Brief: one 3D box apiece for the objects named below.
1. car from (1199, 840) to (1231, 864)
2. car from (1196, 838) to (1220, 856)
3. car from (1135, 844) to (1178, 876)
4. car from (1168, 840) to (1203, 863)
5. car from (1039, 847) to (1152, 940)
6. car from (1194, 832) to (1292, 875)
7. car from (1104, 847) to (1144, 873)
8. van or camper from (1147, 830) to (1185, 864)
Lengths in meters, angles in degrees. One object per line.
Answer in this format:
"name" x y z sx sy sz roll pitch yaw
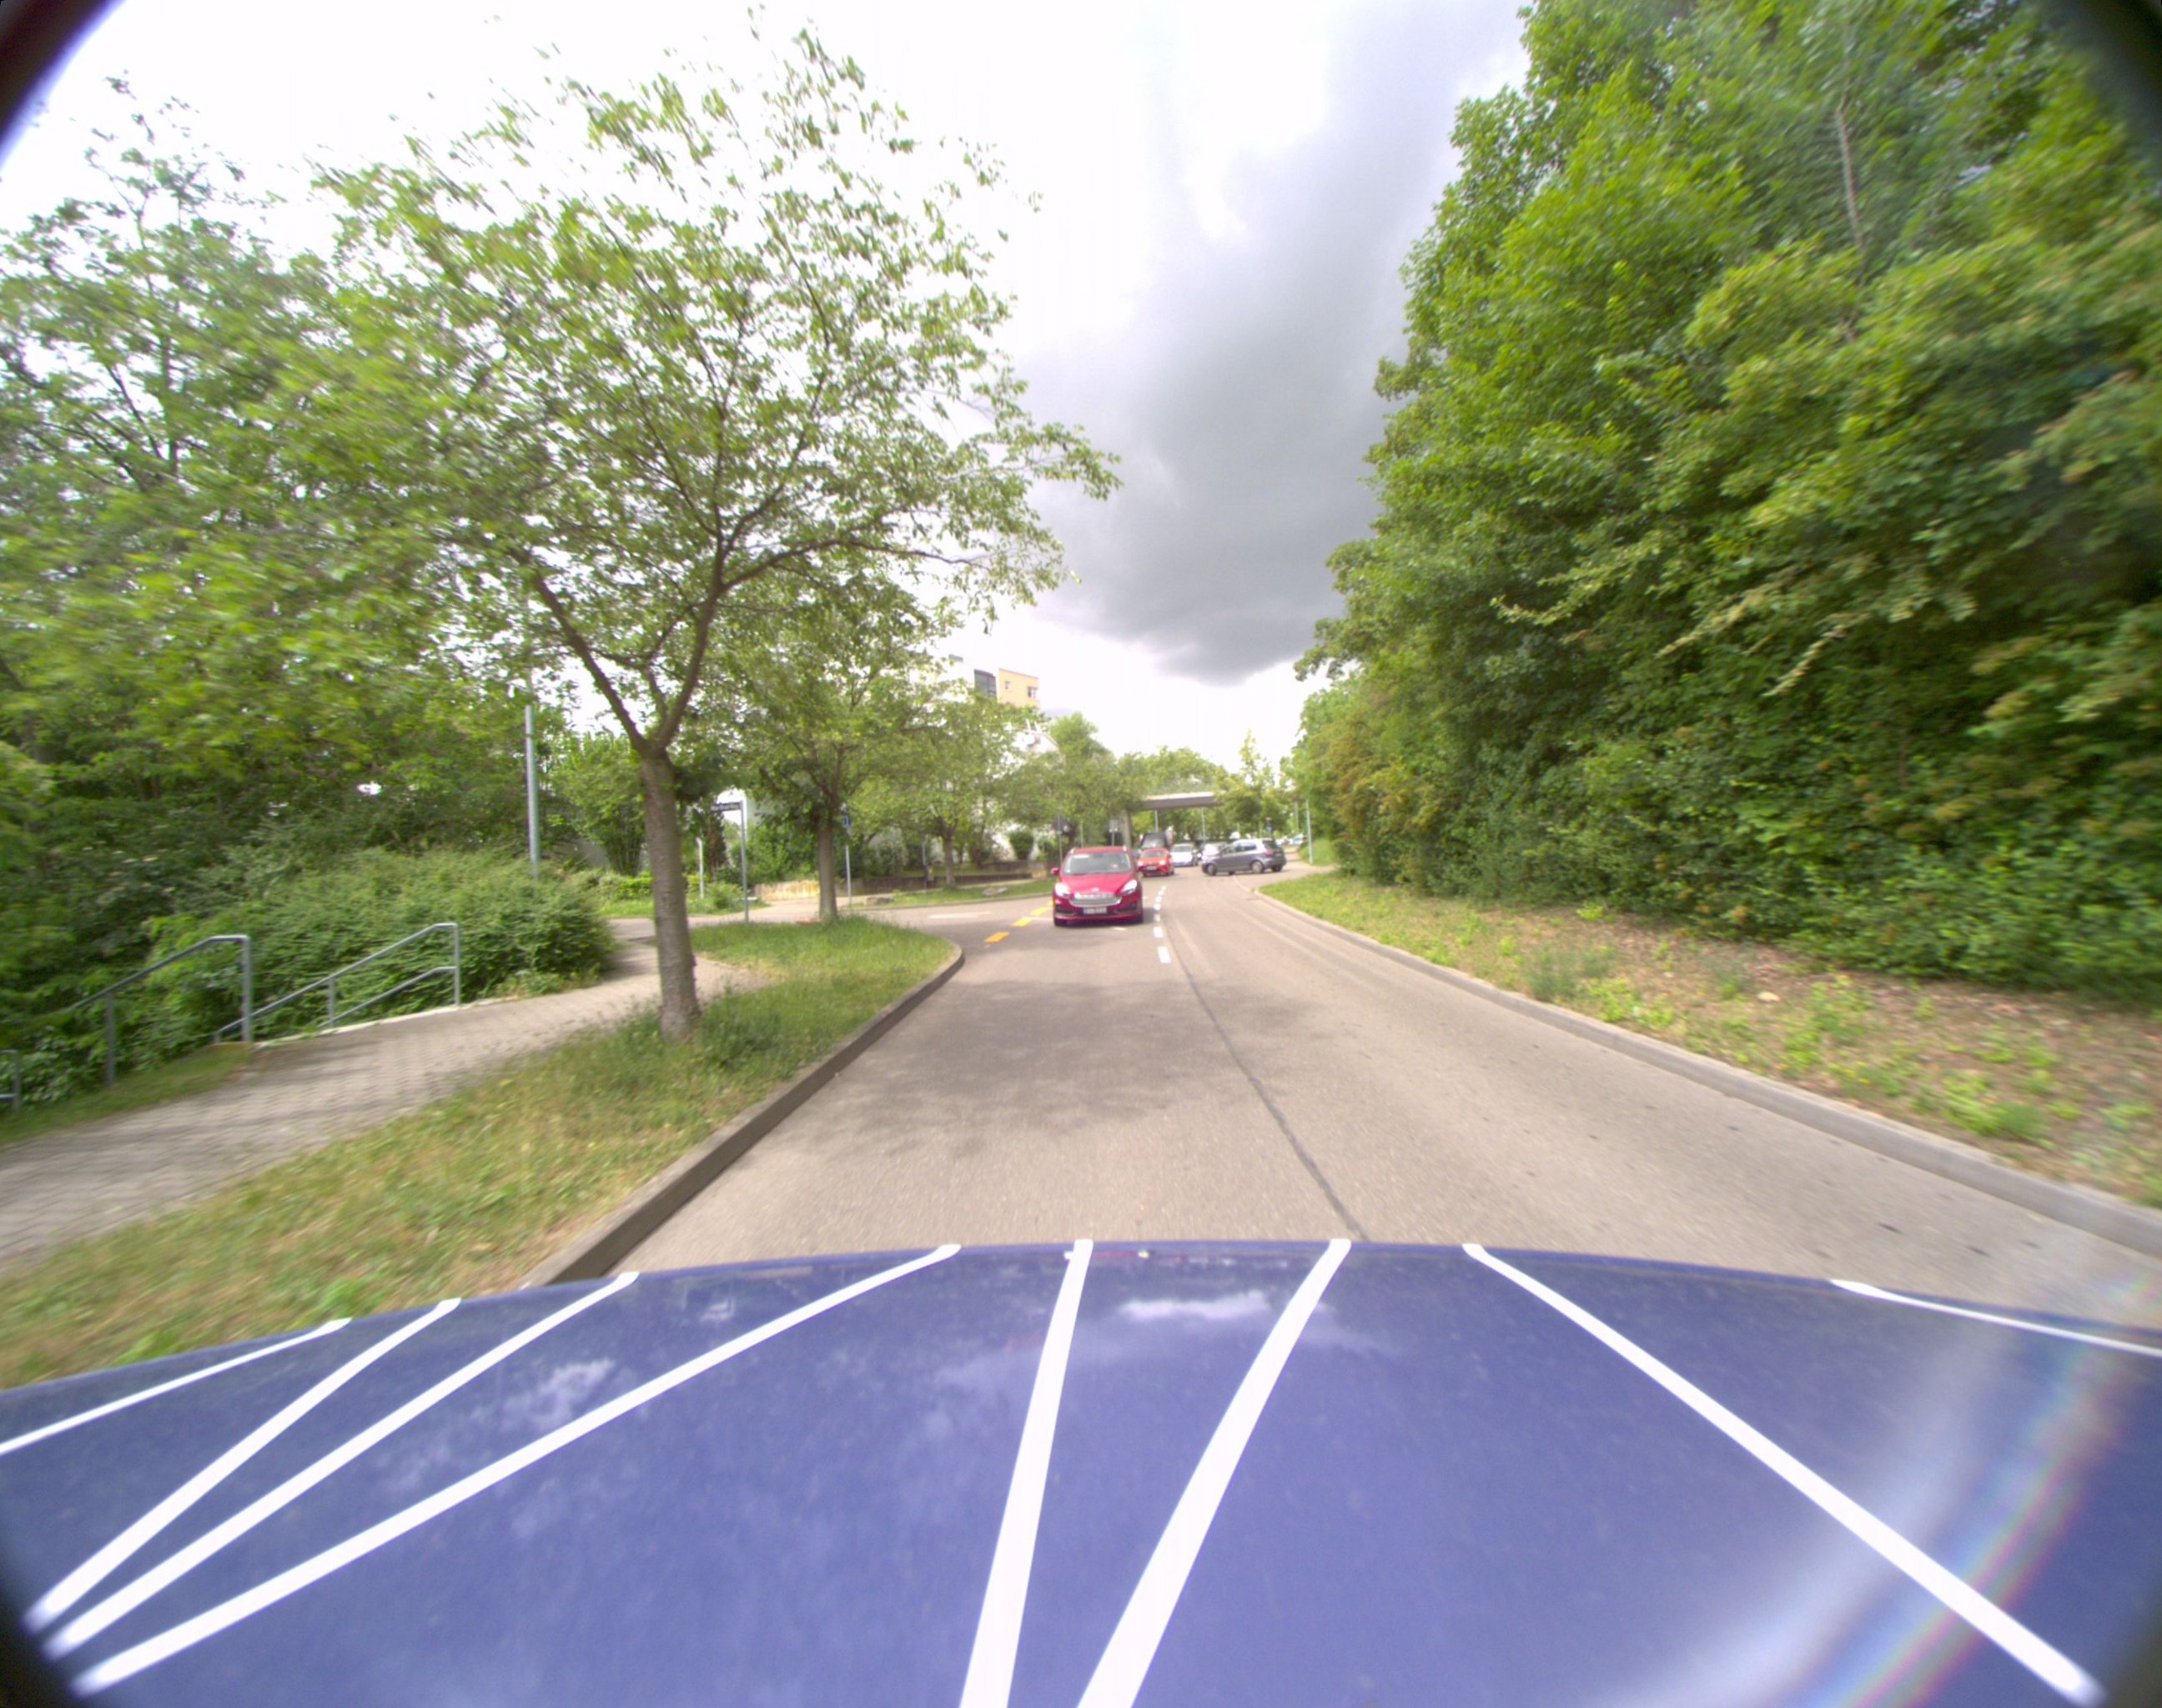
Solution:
"car" 9.062 -0.180 51.165 1.844 1.447 3.655 -3 1 13
"car" 11.551 -0.628 68.892 1.778 1.411 4.006 3 -2 14
"car" 3.988 0.281 39.708 1.860 1.434 4.002 -3 1 10
"car" 7.353 -0.183 53.201 1.778 1.443 4.004 -2 1 17
"car" 0.440 0.724 15.968 1.811 1.600 3.723 -3 1 9
"car" 7.596 -0.004 35.837 4.109 1.652 1.761 -5 0 41
"car" 2.644 0.316 46.126 1.693 1.412 4.003 -2 1 14
"van or camper" 6.829 -0.585 60.440 1.996 2.481 5.763 -2 1 16
